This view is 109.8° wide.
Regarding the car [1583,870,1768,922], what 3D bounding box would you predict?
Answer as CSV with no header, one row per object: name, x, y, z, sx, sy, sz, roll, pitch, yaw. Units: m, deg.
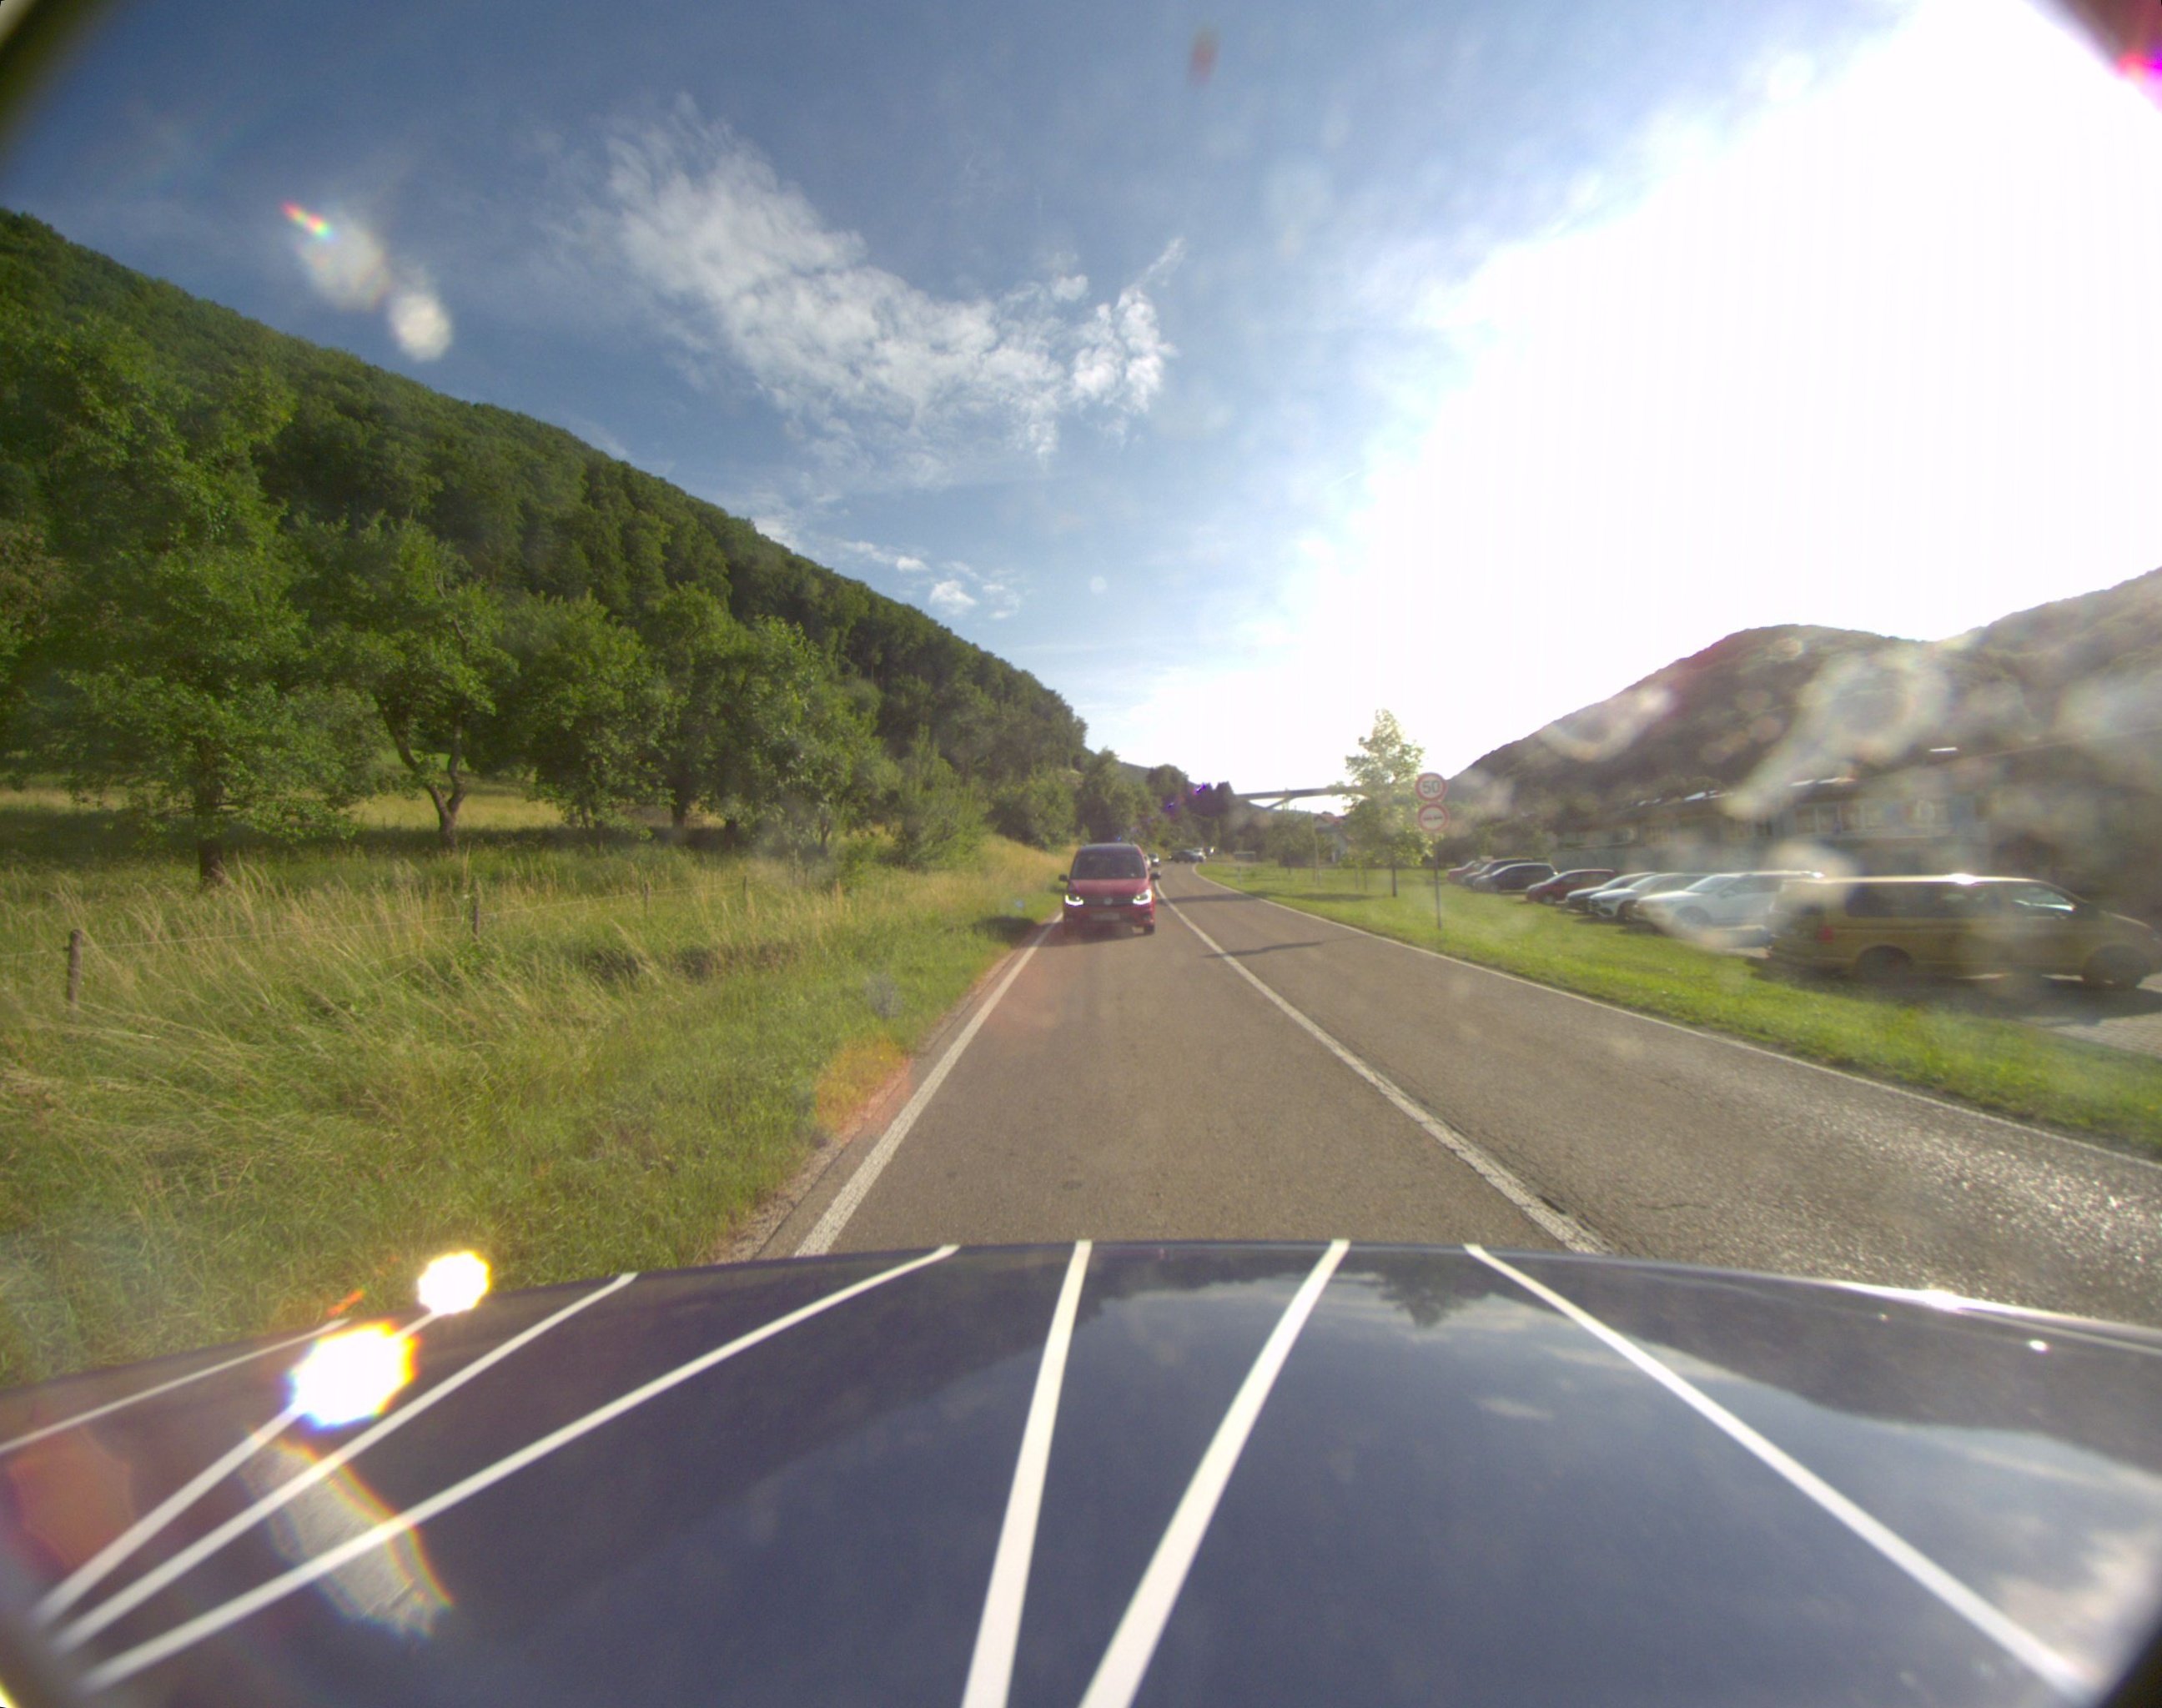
car,19.606,1.360,25.320,4.437,1.577,2.003,-1,0,19

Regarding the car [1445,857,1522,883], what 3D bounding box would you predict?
car,27.911,1.124,52.859,4.438,1.709,2.003,-1,0,17

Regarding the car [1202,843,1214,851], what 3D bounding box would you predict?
car,25.596,-1.412,153.006,1.676,1.637,3.351,-2,0,20

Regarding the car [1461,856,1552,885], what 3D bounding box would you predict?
car,26.565,1.022,47.602,4.665,1.752,2.003,-1,0,17

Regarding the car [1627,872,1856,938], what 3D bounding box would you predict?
car,18.800,1.420,21.906,4.545,1.691,2.003,-1,0,19

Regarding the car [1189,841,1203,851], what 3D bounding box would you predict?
car,21.322,-1.493,140.966,1.796,1.725,4.289,-2,0,17

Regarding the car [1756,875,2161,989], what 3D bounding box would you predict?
car,15.859,1.339,14.042,4.653,1.802,2.003,-1,0,19

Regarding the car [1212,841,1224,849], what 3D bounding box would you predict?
car,29.689,-1.864,164.768,1.996,1.707,4.006,-1,0,19

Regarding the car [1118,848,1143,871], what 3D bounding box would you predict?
car,3.927,0.429,59.753,1.901,1.717,4.002,-2,0,5

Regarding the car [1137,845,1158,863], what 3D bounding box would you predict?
car,7.272,0.022,82.846,1.997,1.838,4.002,-1,0,8

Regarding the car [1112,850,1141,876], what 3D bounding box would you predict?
car,2.986,0.590,48.905,1.692,1.539,4.002,-2,0,5

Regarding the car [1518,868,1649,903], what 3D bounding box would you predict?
car,21.949,1.379,33.398,4.437,1.443,2.003,-1,0,19

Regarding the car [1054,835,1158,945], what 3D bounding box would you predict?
car,0.594,0.649,15.399,1.746,1.849,4.350,-2,0,4

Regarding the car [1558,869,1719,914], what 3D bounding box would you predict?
car,20.753,1.385,28.498,4.438,1.573,2.003,-1,0,17

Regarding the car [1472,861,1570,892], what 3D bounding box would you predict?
car,24.858,1.275,43.105,4.438,1.573,2.003,-2,0,17

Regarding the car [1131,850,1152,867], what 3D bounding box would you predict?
car,5.516,0.429,69.115,1.798,1.464,4.285,-2,-1,5

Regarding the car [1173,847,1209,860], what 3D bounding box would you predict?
car,14.271,-0.021,99.011,2.003,1.518,4.762,-1,0,-31

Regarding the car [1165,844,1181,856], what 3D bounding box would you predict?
car,14.087,-0.612,116.520,1.910,1.675,4.004,-1,0,15
